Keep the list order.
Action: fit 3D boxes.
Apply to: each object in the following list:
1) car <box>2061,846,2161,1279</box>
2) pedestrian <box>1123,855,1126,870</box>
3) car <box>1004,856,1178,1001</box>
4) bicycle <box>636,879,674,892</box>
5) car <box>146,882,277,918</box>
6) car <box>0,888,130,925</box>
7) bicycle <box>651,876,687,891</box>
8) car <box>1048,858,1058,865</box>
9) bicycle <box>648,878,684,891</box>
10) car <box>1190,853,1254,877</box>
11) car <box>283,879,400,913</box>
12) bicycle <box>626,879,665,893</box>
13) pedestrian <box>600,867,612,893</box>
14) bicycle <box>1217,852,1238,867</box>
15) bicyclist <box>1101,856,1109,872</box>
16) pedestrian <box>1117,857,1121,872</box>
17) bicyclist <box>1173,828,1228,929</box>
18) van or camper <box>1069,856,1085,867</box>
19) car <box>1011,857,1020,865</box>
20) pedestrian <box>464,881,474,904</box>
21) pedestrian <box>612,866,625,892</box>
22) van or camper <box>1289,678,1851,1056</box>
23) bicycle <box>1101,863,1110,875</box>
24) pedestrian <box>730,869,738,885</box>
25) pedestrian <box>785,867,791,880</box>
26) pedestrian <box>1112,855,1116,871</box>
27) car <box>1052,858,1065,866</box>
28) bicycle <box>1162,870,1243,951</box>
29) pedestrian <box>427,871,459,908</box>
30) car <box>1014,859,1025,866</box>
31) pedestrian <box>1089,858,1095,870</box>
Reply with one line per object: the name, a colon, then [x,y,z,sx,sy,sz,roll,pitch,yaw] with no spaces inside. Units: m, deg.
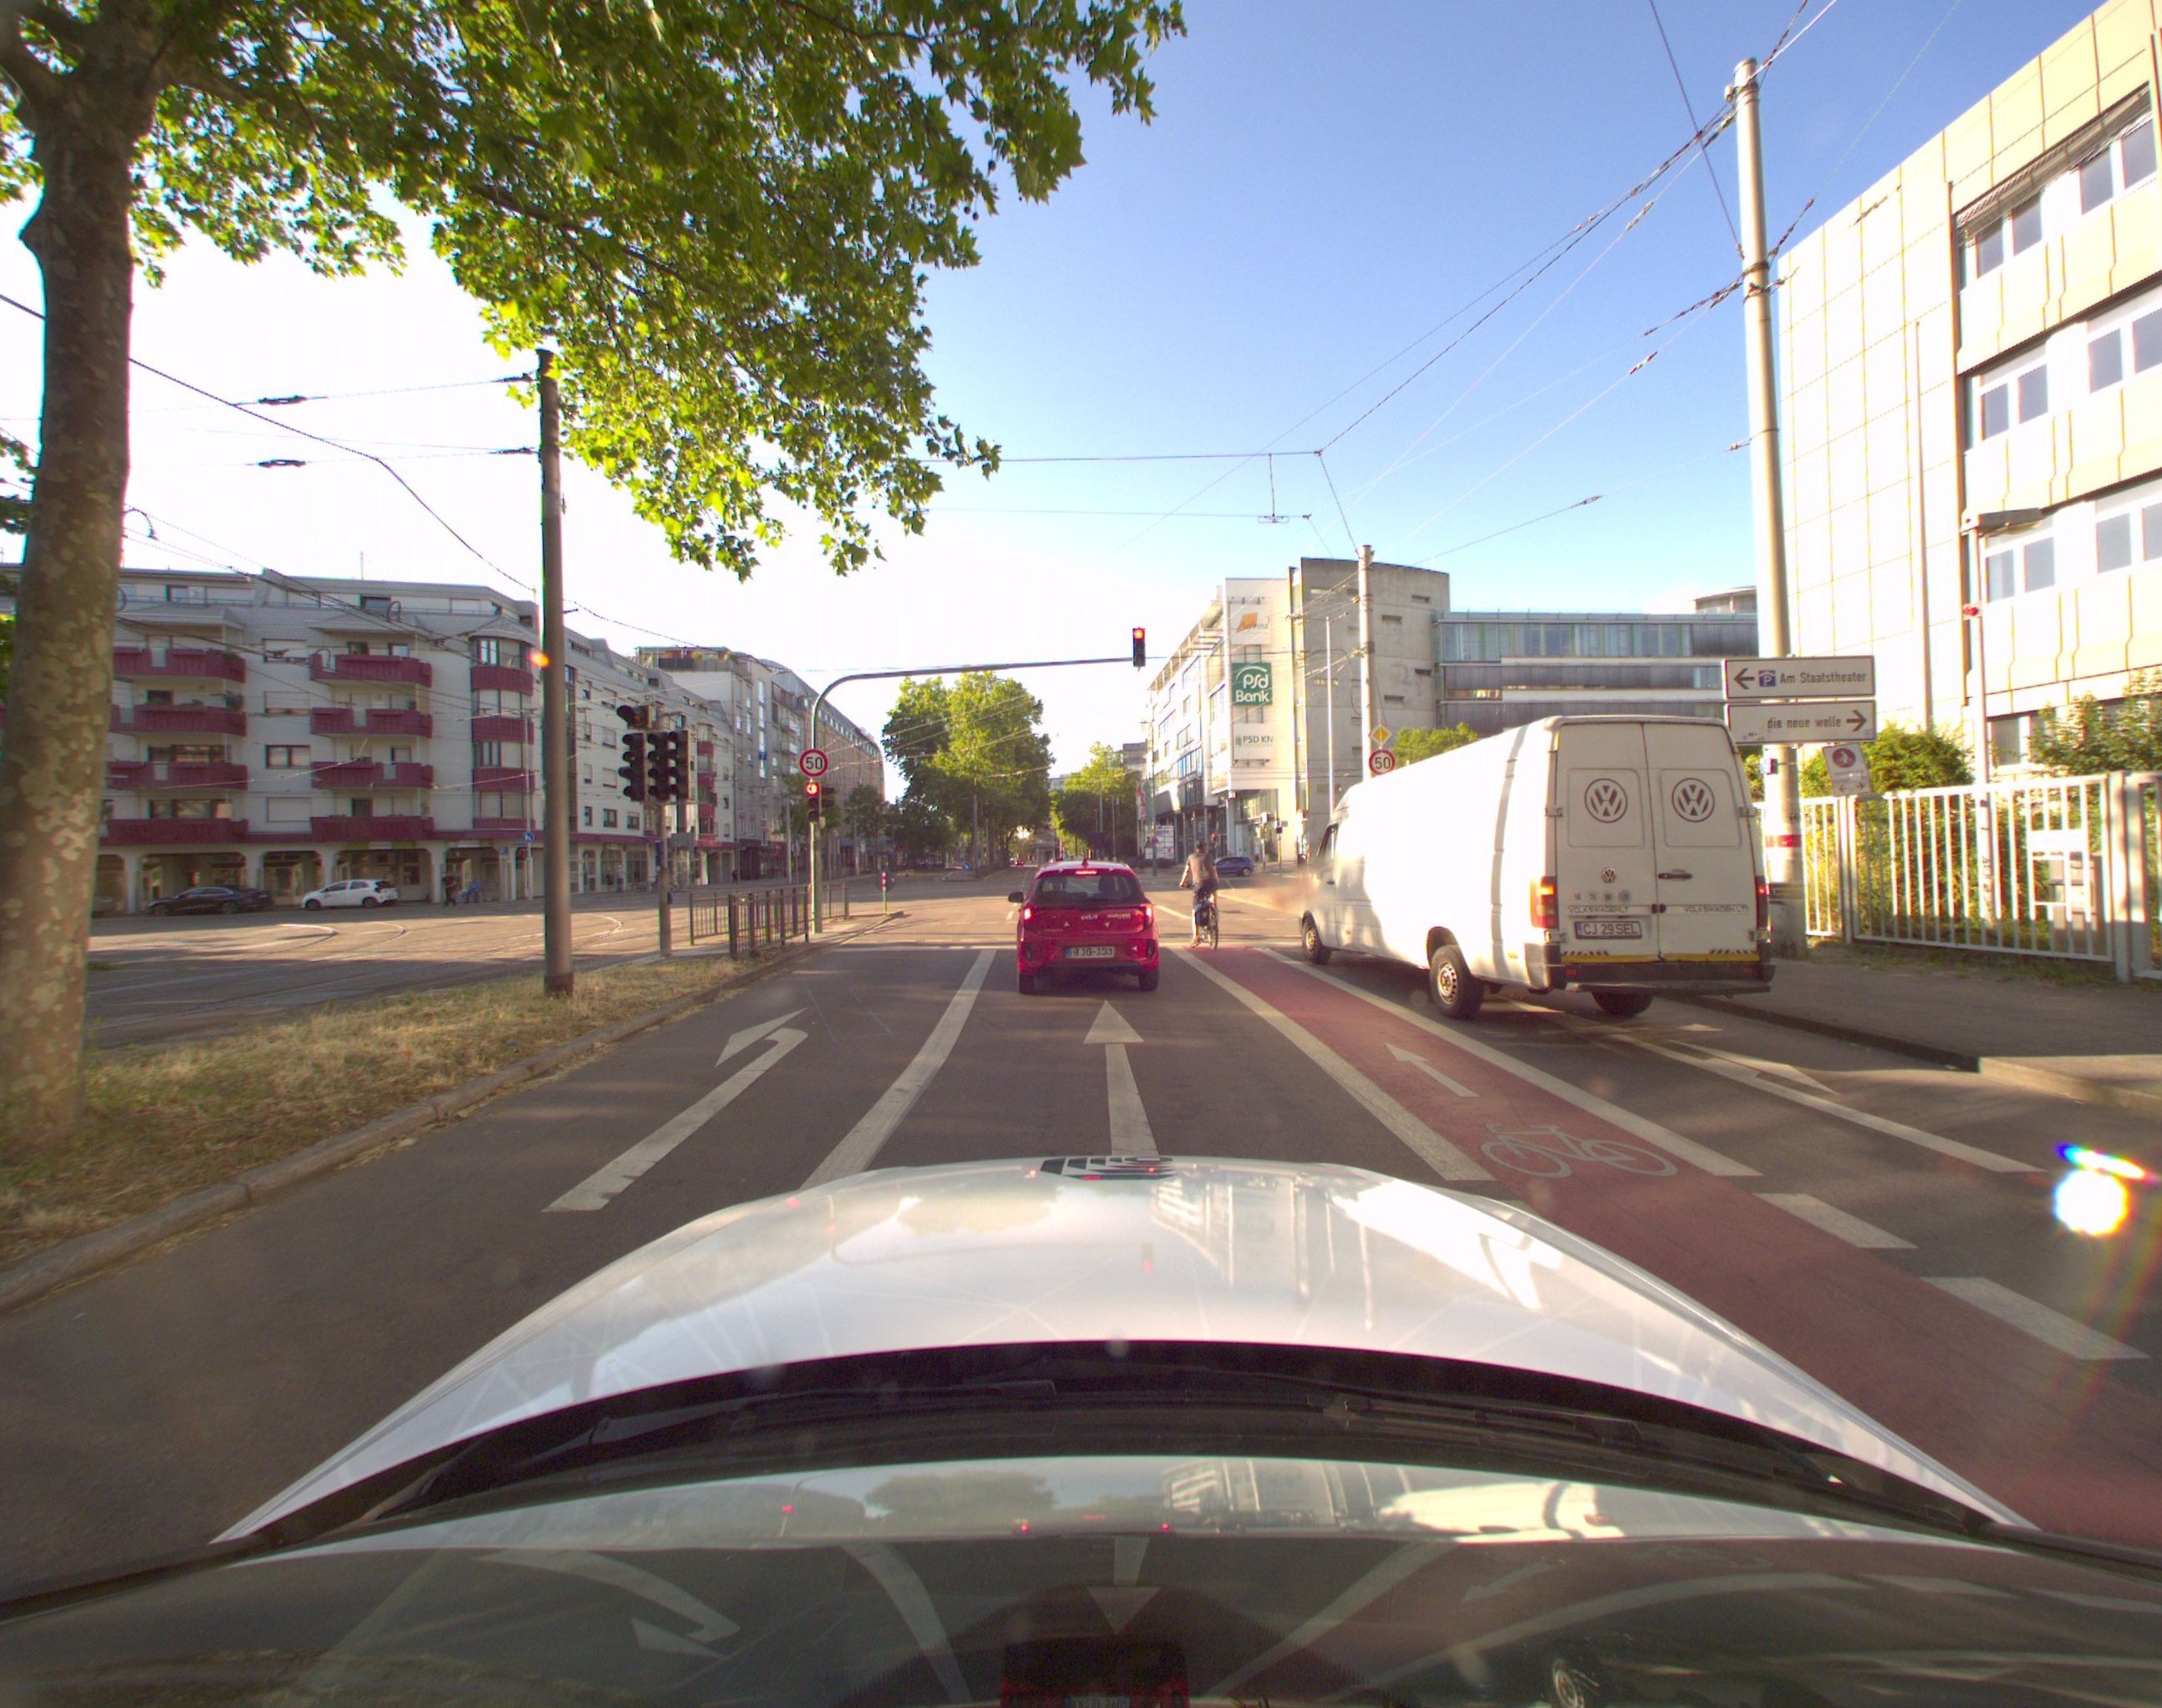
car: [4.672,0.724,1.153,1.796,1.501,3.980,0,0,-1]
pedestrian: [4.469,0.892,83.288,0.293,1.562,0.314,-2,0,-2]
car: [0.002,0.800,10.608,1.836,1.489,3.711,-2,0,-4]
bicycle: [-28.634,2.122,54.747,2.167,0.787,0.490,-2,0,-8]
car: [-42.905,2.237,40.281,3.996,1.464,1.792,-2,0,-17]
car: [-48.986,2.500,38.916,4.264,1.464,1.793,-2,0,-15]
bicycle: [-28.677,2.057,56.749,2.167,0.951,0.490,-2,0,-8]
car: [-6.263,1.688,183.819,1.883,1.528,4.421,-2,0,-7]
bicycle: [-28.588,2.115,56.111,2.167,0.824,0.526,-2,0,-8]
car: [10.233,0.796,59.190,4.254,1.568,1.845,-2,0,-6]
car: [-37.760,2.132,41.679,3.995,1.464,1.792,-2,0,-16]
bicycle: [-28.837,2.119,53.969,2.167,0.787,0.639,-2,0,-8]
pedestrian: [-31.376,1.706,53.786,0.509,1.699,0.527,-2,0,-6]
bicycle: [14.150,0.519,78.729,1.932,1.443,0.574,-2,0,-6]
bicyclist: [2.456,1.002,82.383,0.782,1.635,0.639,-2,0,0]
pedestrian: [3.924,1.045,83.319,0.292,1.562,0.357,-2,0,14]
bicyclist: [2.034,0.410,13.893,0.743,1.669,0.742,0,0,-9]
van or camper: [-0.629,1.250,135.974,2.143,1.750,4.421,-2,0,-7]
car: [-18.652,1.941,231.381,1.986,2.013,4.002,-2,0,2]
pedestrian: [-33.027,2.087,43.942,0.303,1.214,0.317,-2,0,-9]
pedestrian: [-30.681,1.671,54.021,0.509,1.699,0.527,-2,0,-6]
van or camper: [4.429,0.115,9.142,2.264,2.733,6.339,1,0,-3]
bicycle: [2.476,1.531,82.331,0.789,1.161,2.500,-2,0,2]
pedestrian: [-32.160,2.088,75.525,0.510,1.459,0.526,-2,0,-11]
pedestrian: [-33.322,2.178,92.543,0.509,1.459,0.527,-2,0,-6]
pedestrian: [3.351,0.906,83.100,0.293,1.562,0.302,-2,0,-2]
car: [-4.668,1.648,169.734,2.475,1.528,4.423,-2,0,-6]
bicycle: [2.031,0.907,13.960,0.744,1.224,2.149,0,0,-10]
pedestrian: [-30.114,1.668,38.471,0.708,1.662,1.030,-2,0,-9]
car: [-13.488,1.861,179.229,2.057,1.654,3.481,-2,0,-9]
pedestrian: [1.547,1.423,116.622,0.742,1.716,0.746,-2,0,-8]
